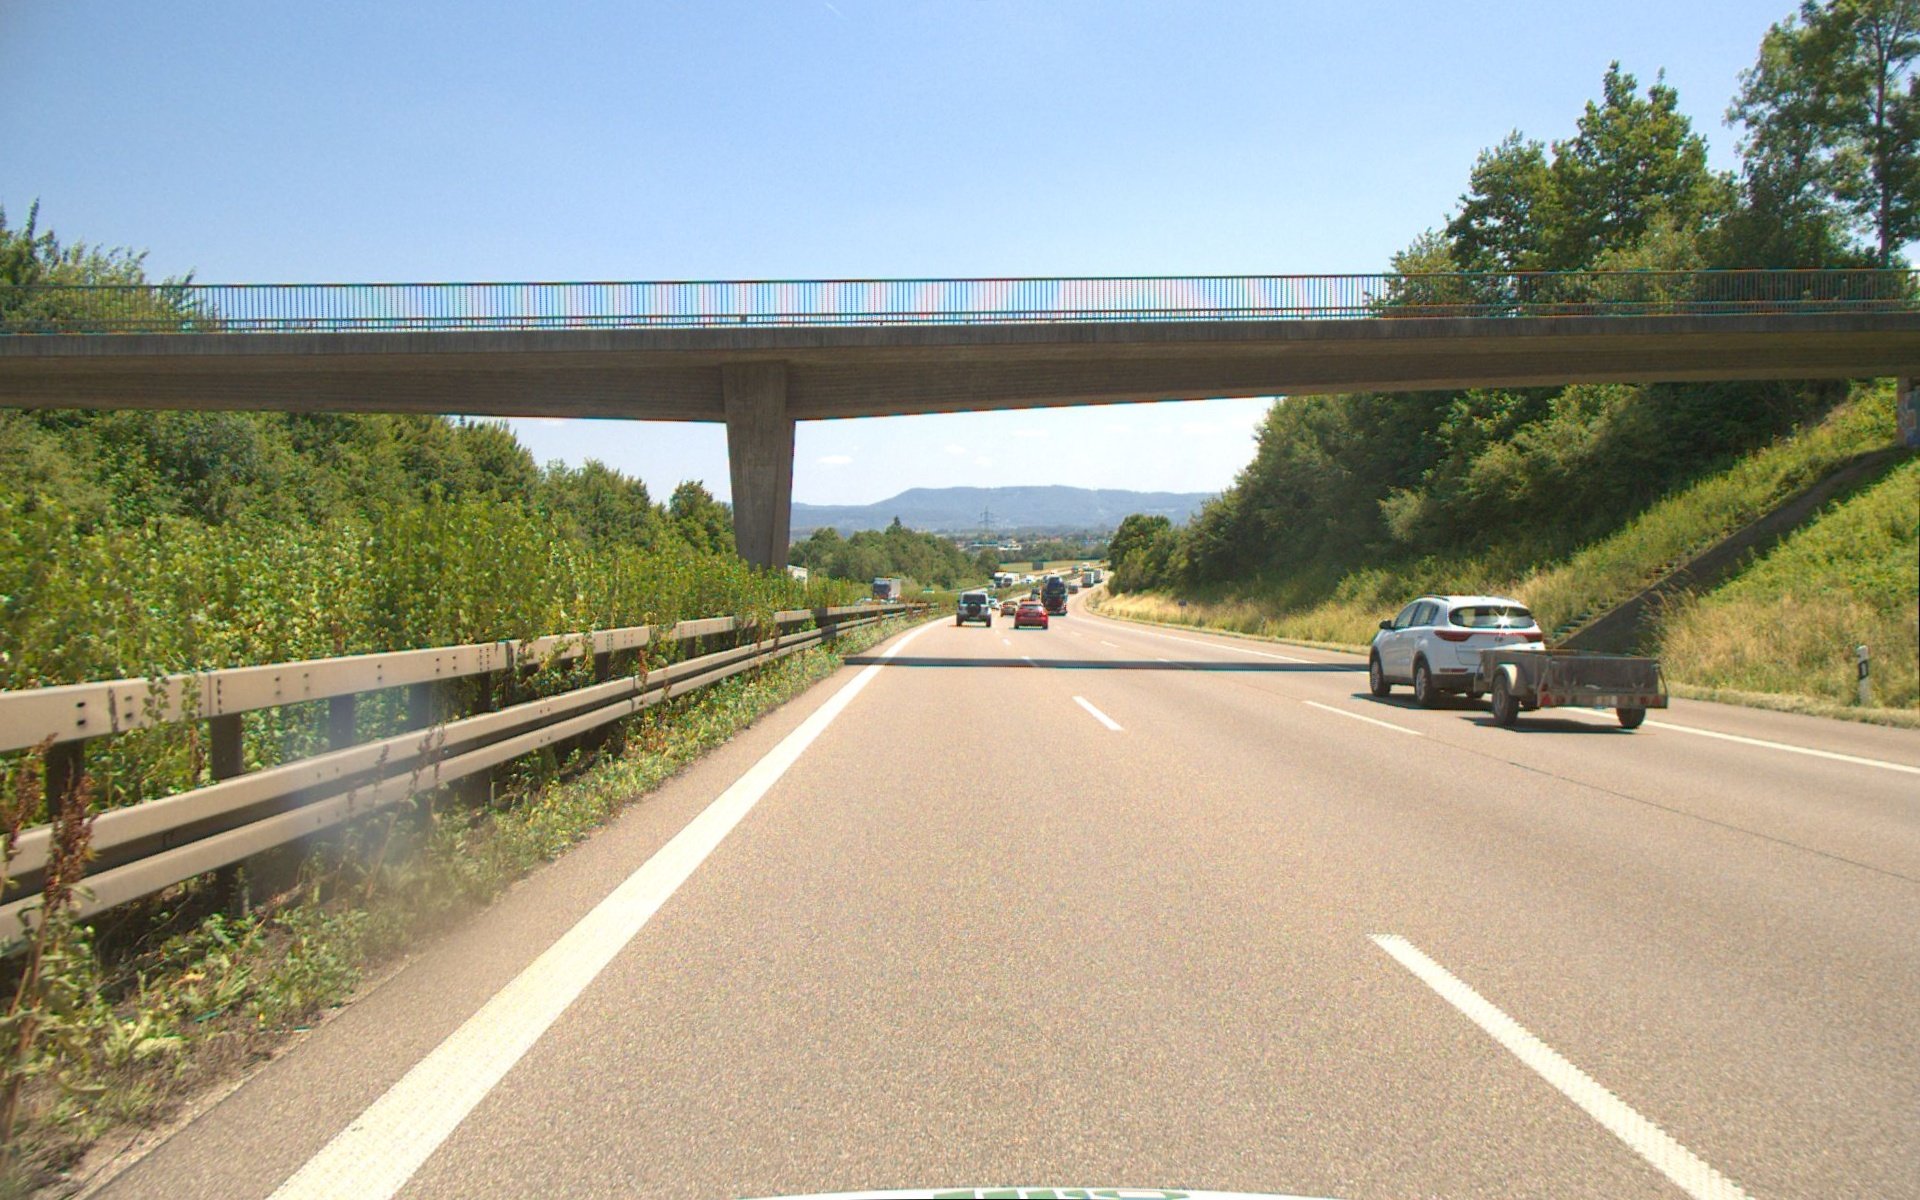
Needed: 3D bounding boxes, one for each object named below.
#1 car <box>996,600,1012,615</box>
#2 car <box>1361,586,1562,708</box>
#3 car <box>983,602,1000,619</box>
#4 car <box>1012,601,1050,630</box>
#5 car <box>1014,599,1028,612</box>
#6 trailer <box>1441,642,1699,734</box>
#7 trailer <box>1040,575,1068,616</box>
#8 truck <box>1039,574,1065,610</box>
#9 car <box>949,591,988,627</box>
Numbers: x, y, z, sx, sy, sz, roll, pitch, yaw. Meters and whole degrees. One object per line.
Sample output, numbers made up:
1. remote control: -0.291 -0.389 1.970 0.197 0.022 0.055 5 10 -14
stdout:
1. car: 3.998 0.656 151.779 1.422 1.289 3.539 1 1 1
2. car: 7.758 0.664 26.022 1.745 1.679 4.402 1 1 -1
3. car: 4.071 1.351 211.806 1.661 2.048 3.826 1 1 9
4. car: 3.740 0.795 87.631 1.652 1.403 3.947 1 1 -2
5. car: 9.021 0.793 245.764 1.600 1.734 3.404 1 1 9
6. trailer: 7.813 1.093 21.636 1.718 0.924 4.318 1 0 -1
7. trailer: 10.009 -0.572 177.958 2.795 4.063 15.403 1 1 3
8. truck: 10.286 -0.920 185.590 2.697 3.919 6.646 1 1 2
9. car: 0.461 0.491 91.897 2.041 1.861 4.753 1 1 -1
